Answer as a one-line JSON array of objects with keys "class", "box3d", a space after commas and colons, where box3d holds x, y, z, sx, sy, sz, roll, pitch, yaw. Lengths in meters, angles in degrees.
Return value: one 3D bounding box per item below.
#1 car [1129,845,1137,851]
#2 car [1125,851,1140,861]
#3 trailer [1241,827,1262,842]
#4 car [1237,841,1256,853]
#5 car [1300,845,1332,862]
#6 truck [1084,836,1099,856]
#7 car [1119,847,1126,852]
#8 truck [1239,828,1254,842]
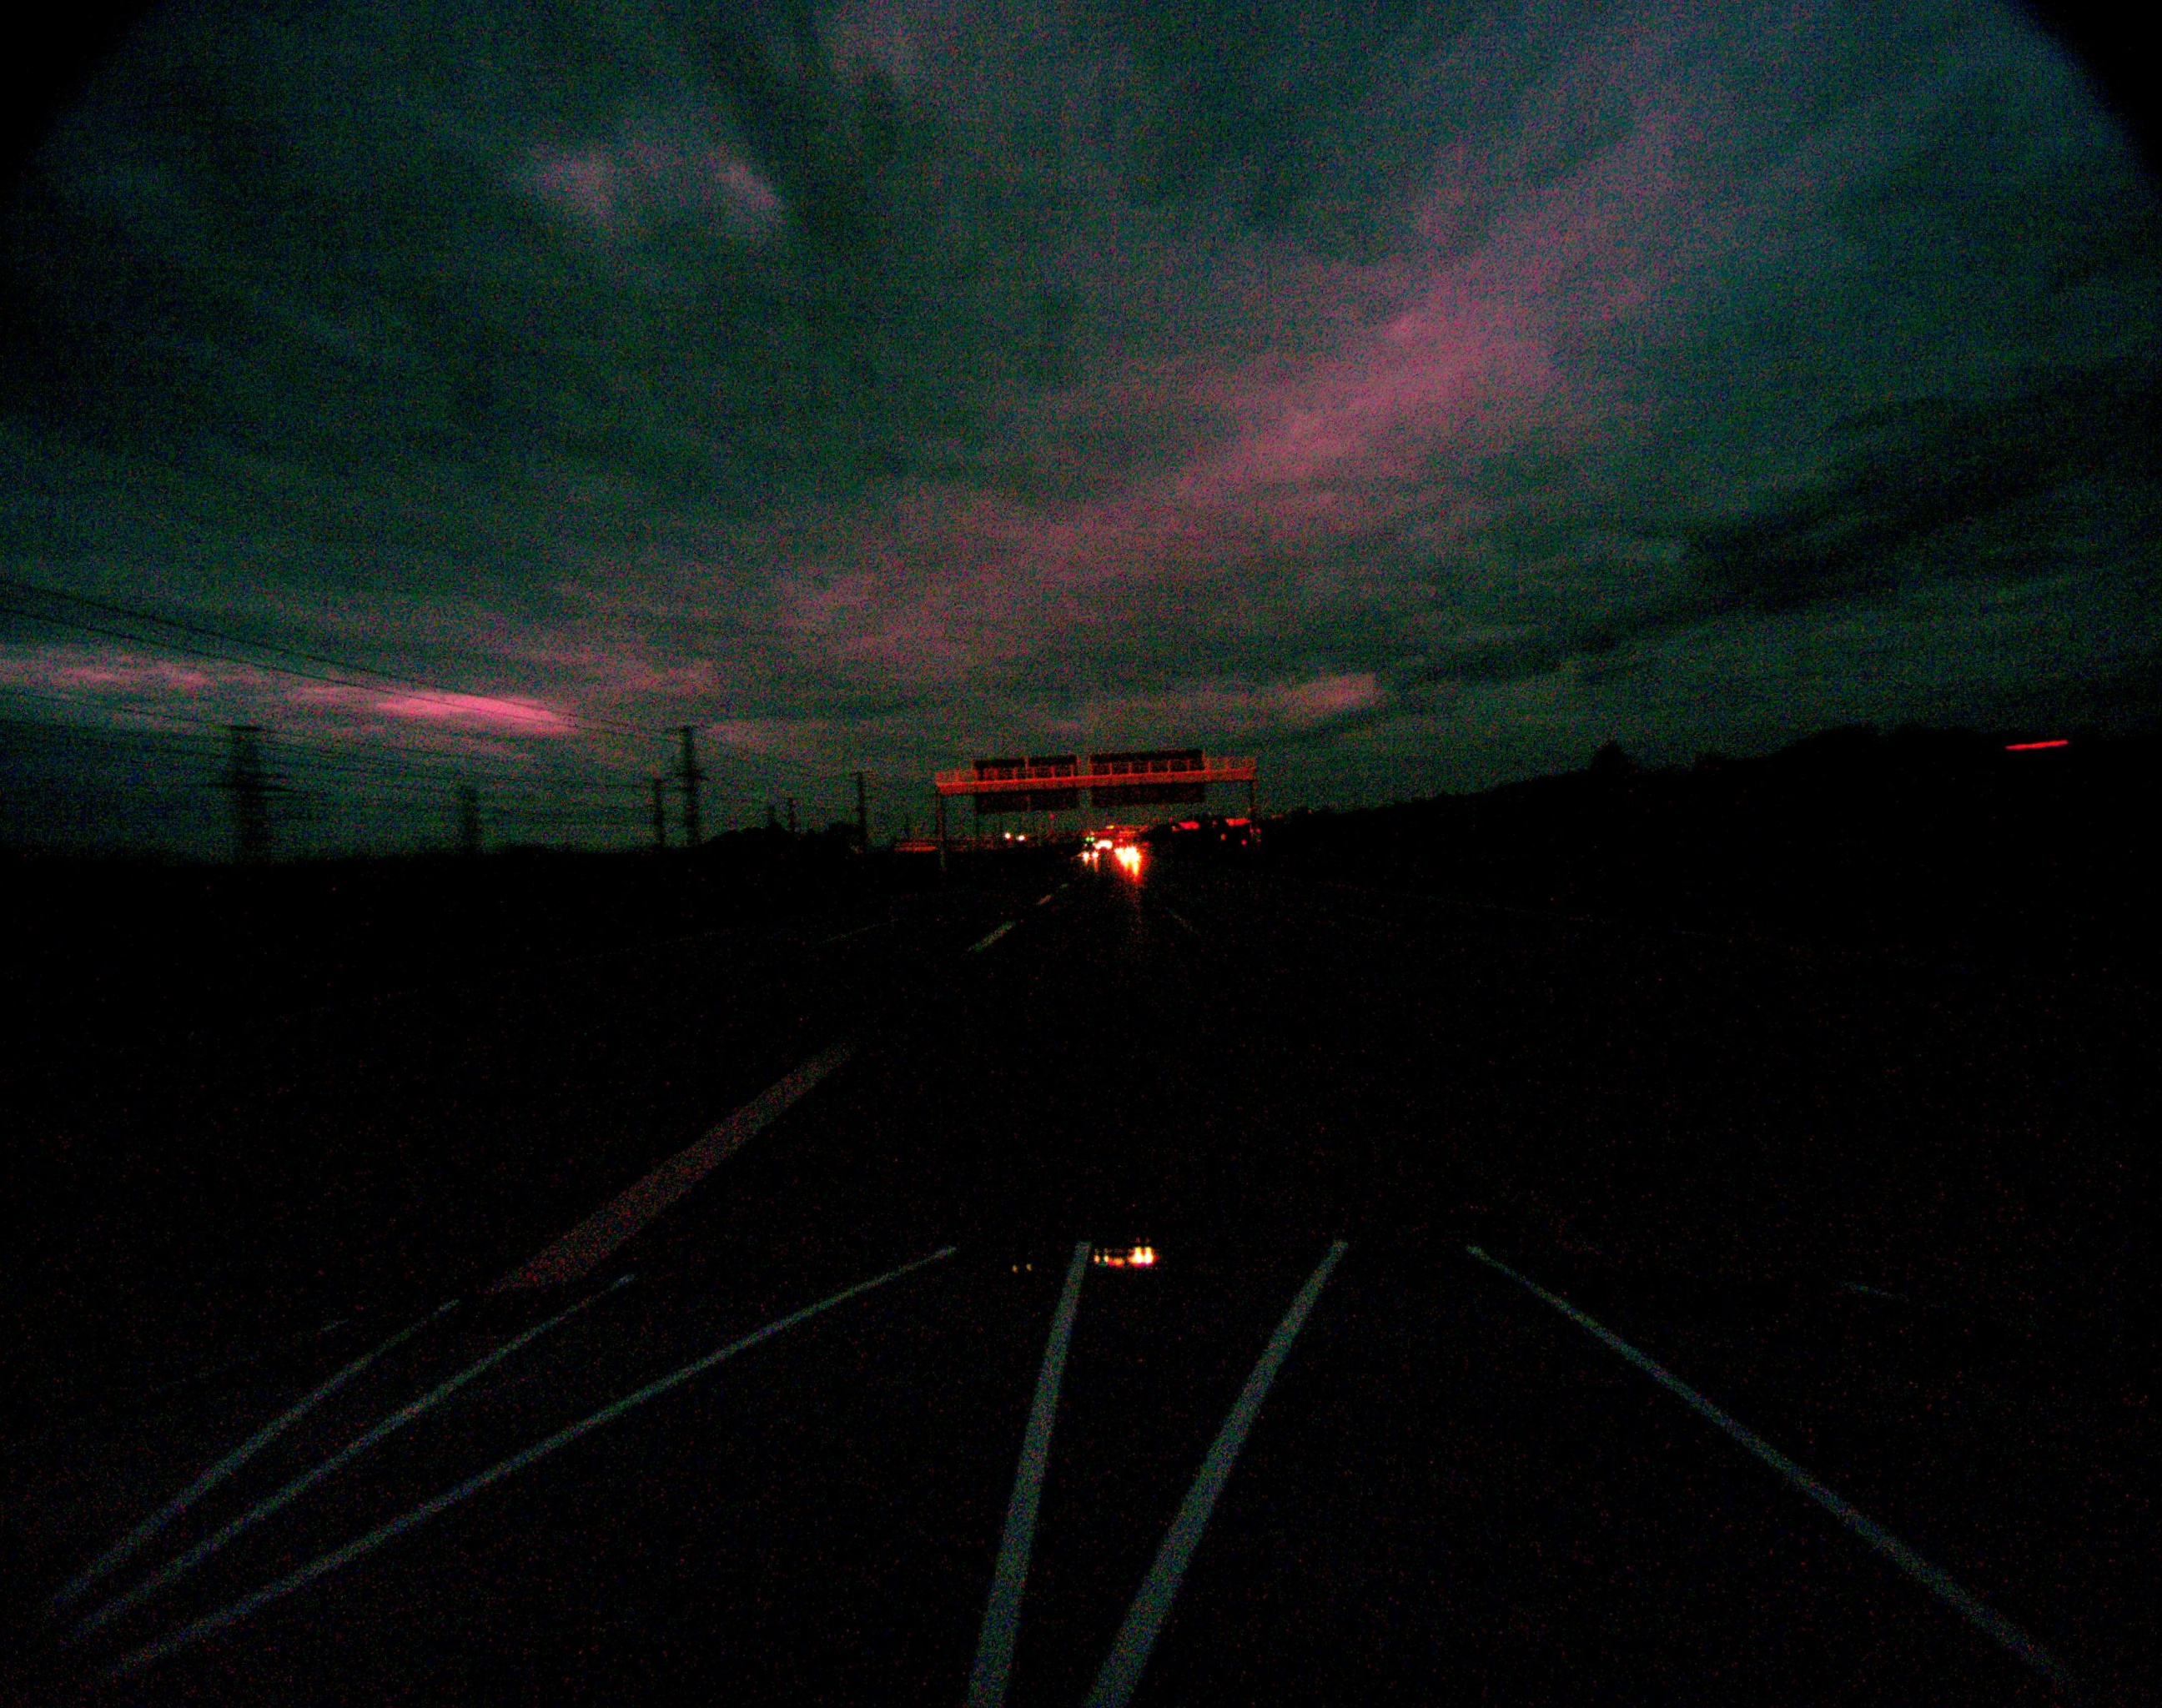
[{"class": "car", "box3d": [14.235, -1.658, 207.428, 1.998, 1.342, 4.175, -4, 1, 0]}, {"class": "car", "box3d": [7.293, 0.281, 107.966, 1.998, 1.342, 4.175, 1, 1, 2]}, {"class": "trailer", "box3d": [50.735, -5.779, 226.296, 2.698, 4.048, 12.487, -4, 0, -3]}, {"class": "car", "box3d": [23.113, -0.960, 106.020, 1.693, 1.393, 4.428, -5, 1, 2]}, {"class": "car", "box3d": [22.356, -0.111, 72.387, 1.693, 1.393, 4.428, -5, 1, 2]}, {"class": "truck", "box3d": [2.440, -1.762, 172.808, 3.060, 4.047, 10.522, -1, -1, 2]}, {"class": "car", "box3d": [11.878, -1.193, 218.500, 1.998, 1.342, 4.175, -3, 1, 2]}, {"class": "truck", "box3d": [50.446, -5.781, 231.398, 2.698, 4.048, 5.475, -4, 1, -3]}]
